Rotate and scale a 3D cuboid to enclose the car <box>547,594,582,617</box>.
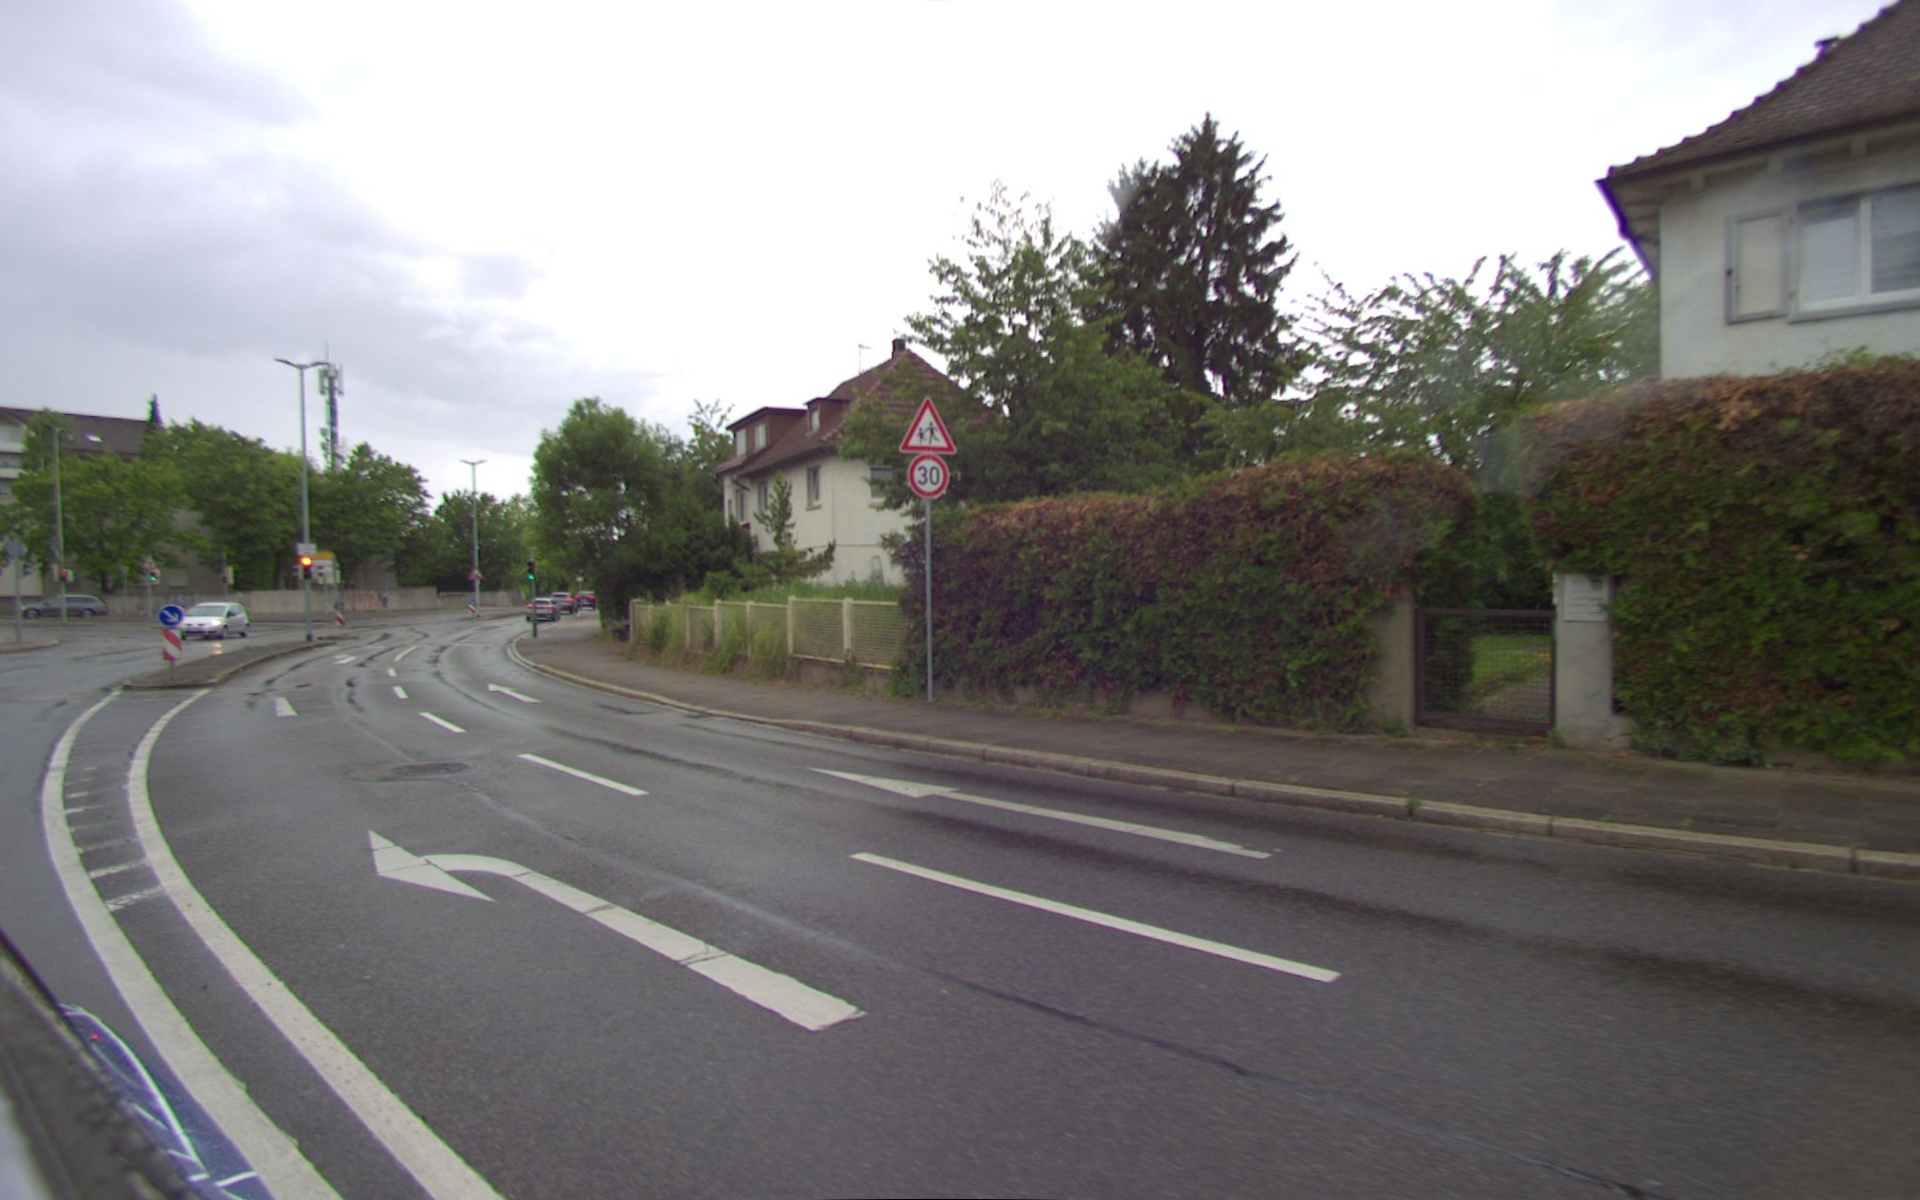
[{"bbox_3d":[-30.941,0.421,79.328,1.857,1.690,4.242,0,1,-12],"label":"car"}]

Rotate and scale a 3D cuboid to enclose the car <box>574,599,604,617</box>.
[{"bbox_3d":[-33.818,0.728,92.352,1.840,1.565,4.457,2,0,-11],"label":"car"}]

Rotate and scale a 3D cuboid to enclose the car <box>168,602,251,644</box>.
[{"bbox_3d":[-32.230,0.945,43.577,1.965,1.669,4.013,0,1,-23],"label":"car"}]

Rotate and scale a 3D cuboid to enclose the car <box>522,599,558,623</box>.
[{"bbox_3d":[-27.892,0.680,67.311,1.653,1.460,4.702,0,1,-15],"label":"car"}]

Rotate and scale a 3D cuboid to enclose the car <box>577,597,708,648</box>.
[{"bbox_3d":[-10.993,0.751,35.105,3.932,1.405,1.939,-5,2,-30],"label":"car"}]

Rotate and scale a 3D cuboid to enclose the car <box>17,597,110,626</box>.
[{"bbox_3d":[-56.040,0.677,63.300,1.999,1.669,4.168,1,1,41],"label":"car"}]

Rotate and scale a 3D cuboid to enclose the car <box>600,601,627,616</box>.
[{"bbox_3d":[-37.225,0.890,108.855,1.842,1.487,4.453,2,0,-6],"label":"car"}]
